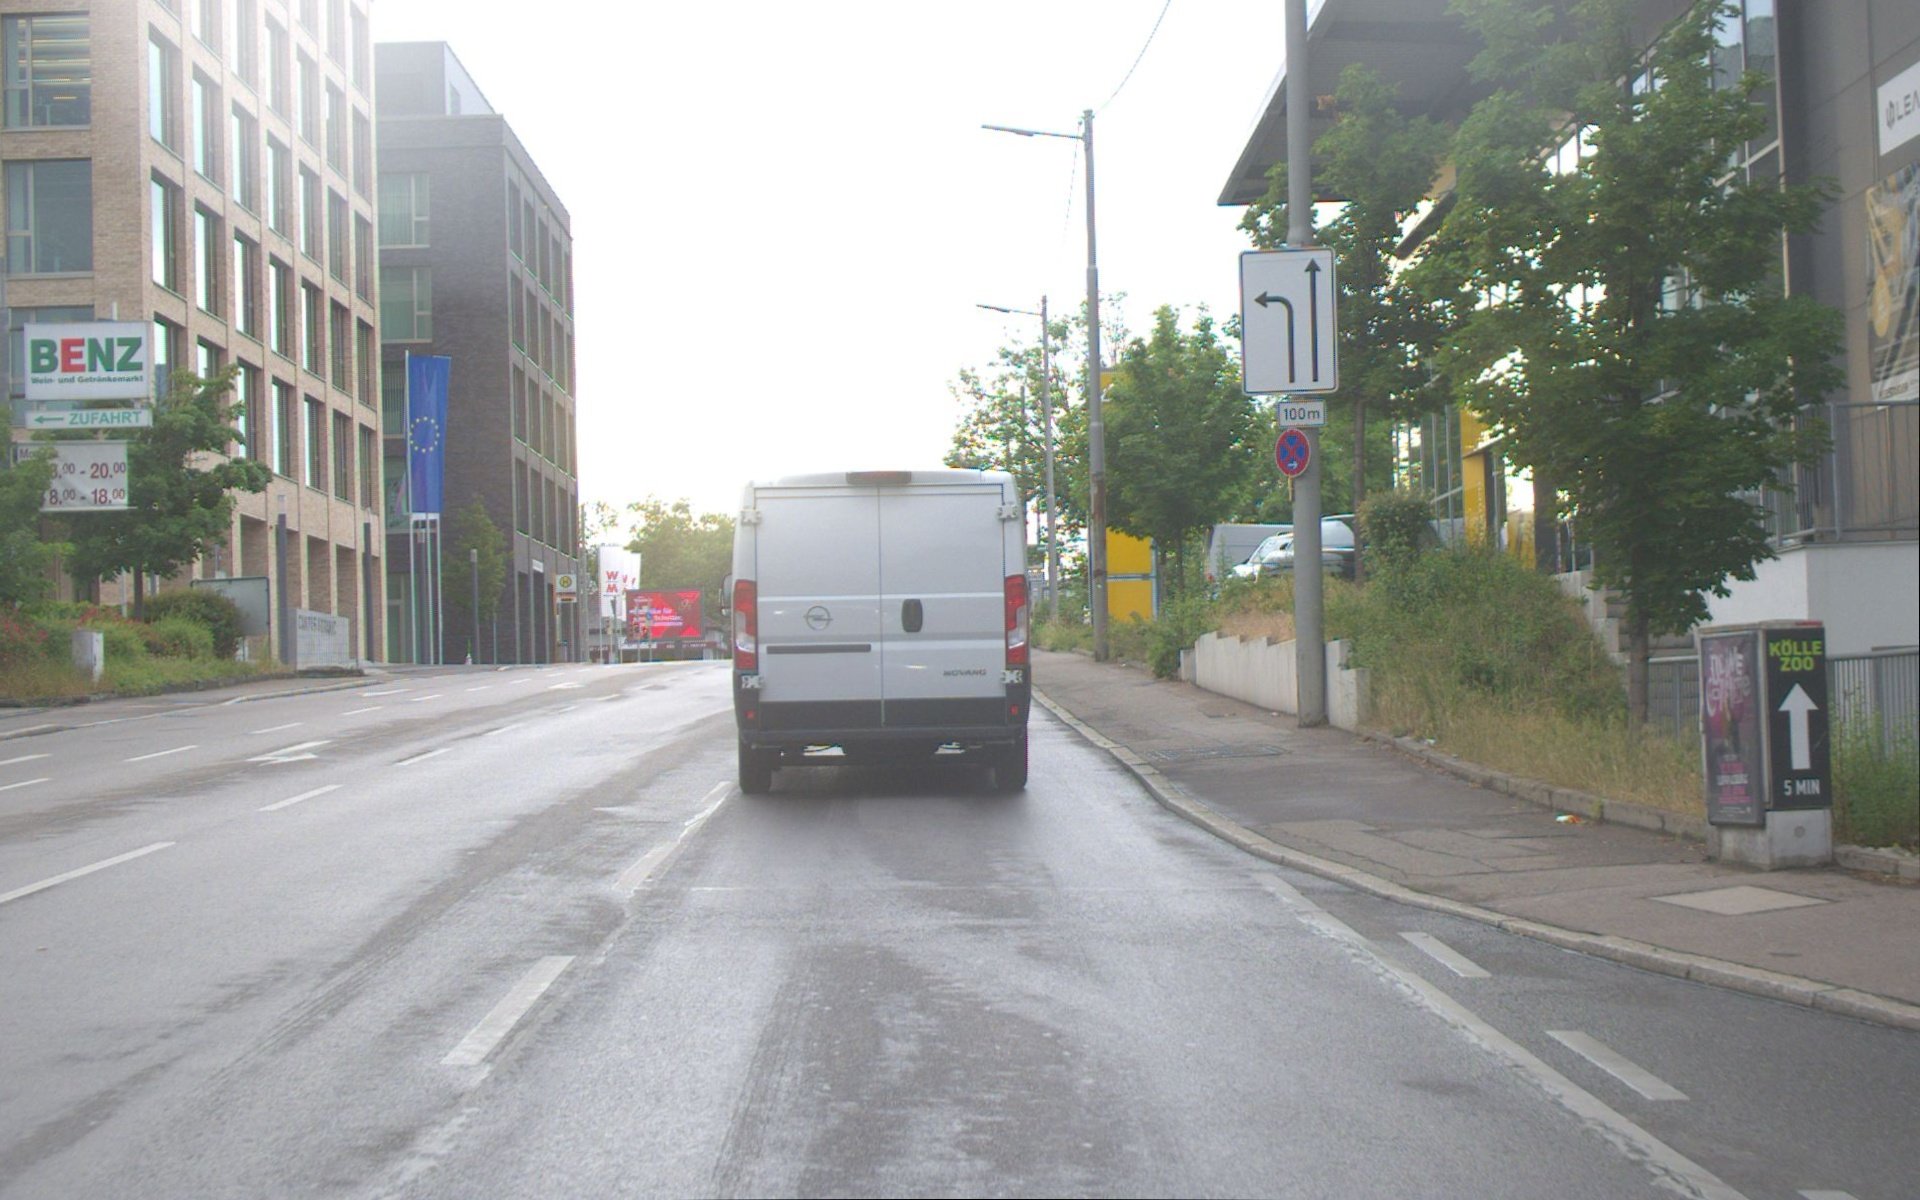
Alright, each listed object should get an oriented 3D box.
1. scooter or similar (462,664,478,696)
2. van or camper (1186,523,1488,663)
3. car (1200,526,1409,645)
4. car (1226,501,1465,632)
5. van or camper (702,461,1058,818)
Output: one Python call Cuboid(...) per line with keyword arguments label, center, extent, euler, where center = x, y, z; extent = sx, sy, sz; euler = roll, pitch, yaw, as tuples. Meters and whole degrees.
Cuboid(label="scooter or similar", center=(-16.818, 2.738, 117.983), extent=(0.351, 1.068, 1.428), euler=(-1, -2, 0))
Cuboid(label="van or camper", center=(7.481, -0.128, 68.640), extent=(5.736, 2.715, 2.352), euler=(0, 0, 0))
Cuboid(label="car", center=(5.525, -0.211, 54.622), extent=(1.996, 1.705, 4.572), euler=(-3, -2, 23))
Cuboid(label="car", center=(5.641, -0.460, 49.834), extent=(1.996, 1.705, 4.422), euler=(-3, -2, 26))
Cuboid(label="van or camper", center=(-0.523, 0.276, 25.358), extent=(2.340, 2.349, 5.199), euler=(0, 0, 0))
